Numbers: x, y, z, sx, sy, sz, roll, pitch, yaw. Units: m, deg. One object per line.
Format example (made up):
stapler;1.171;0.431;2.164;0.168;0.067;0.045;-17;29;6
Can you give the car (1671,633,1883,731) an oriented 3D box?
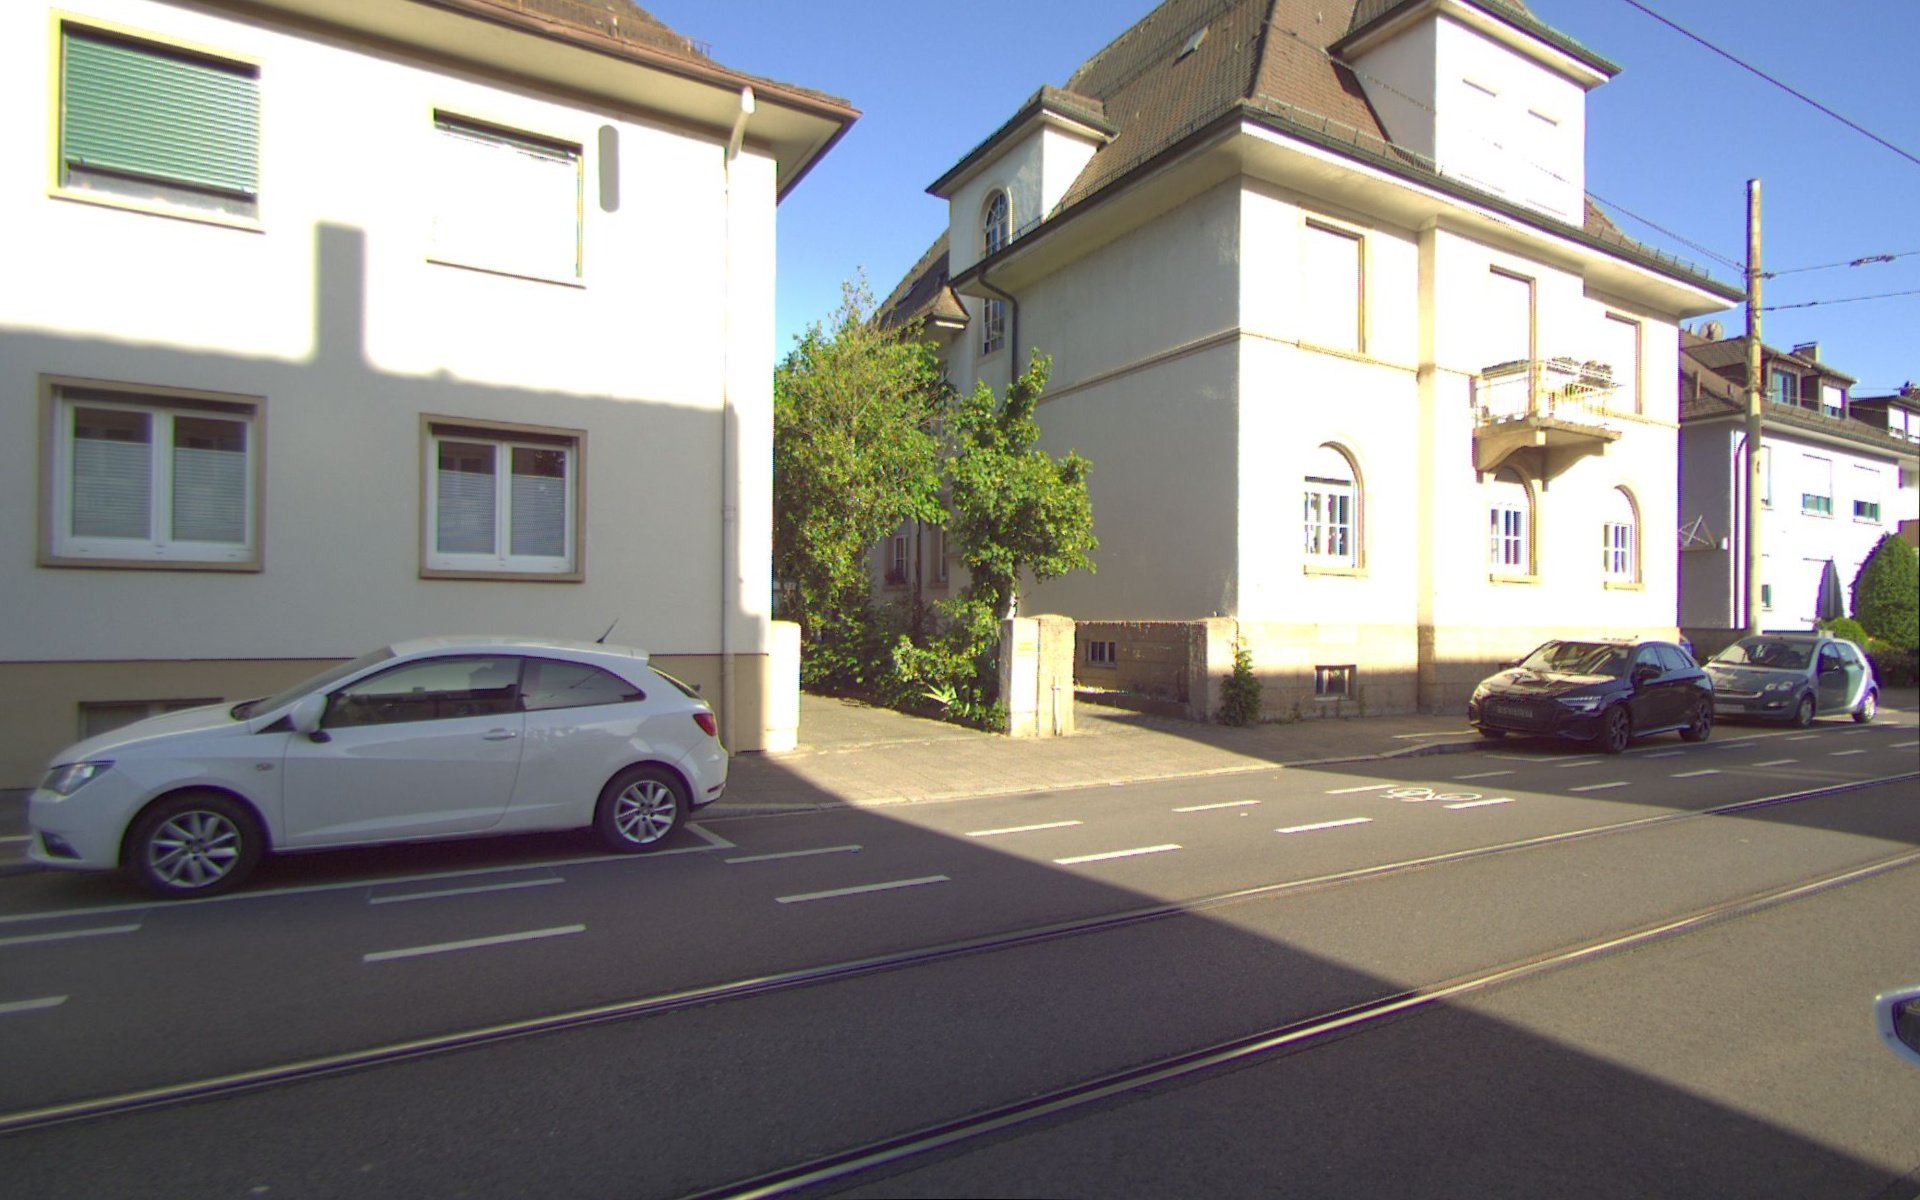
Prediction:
car;14.422;1.362;17.700;3.790;1.497;1.668;1;0;-30

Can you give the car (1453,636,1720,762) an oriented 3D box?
car;8.886;1.275;14.138;4.207;1.496;1.652;1;-1;-34

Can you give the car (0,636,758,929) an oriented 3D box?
car;-3.537;0.993;6.787;3.968;1.476;1.624;1;-3;-30

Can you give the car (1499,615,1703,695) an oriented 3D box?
car;15.687;1.307;24.794;1.735;1.807;3.905;1;-2;-31
